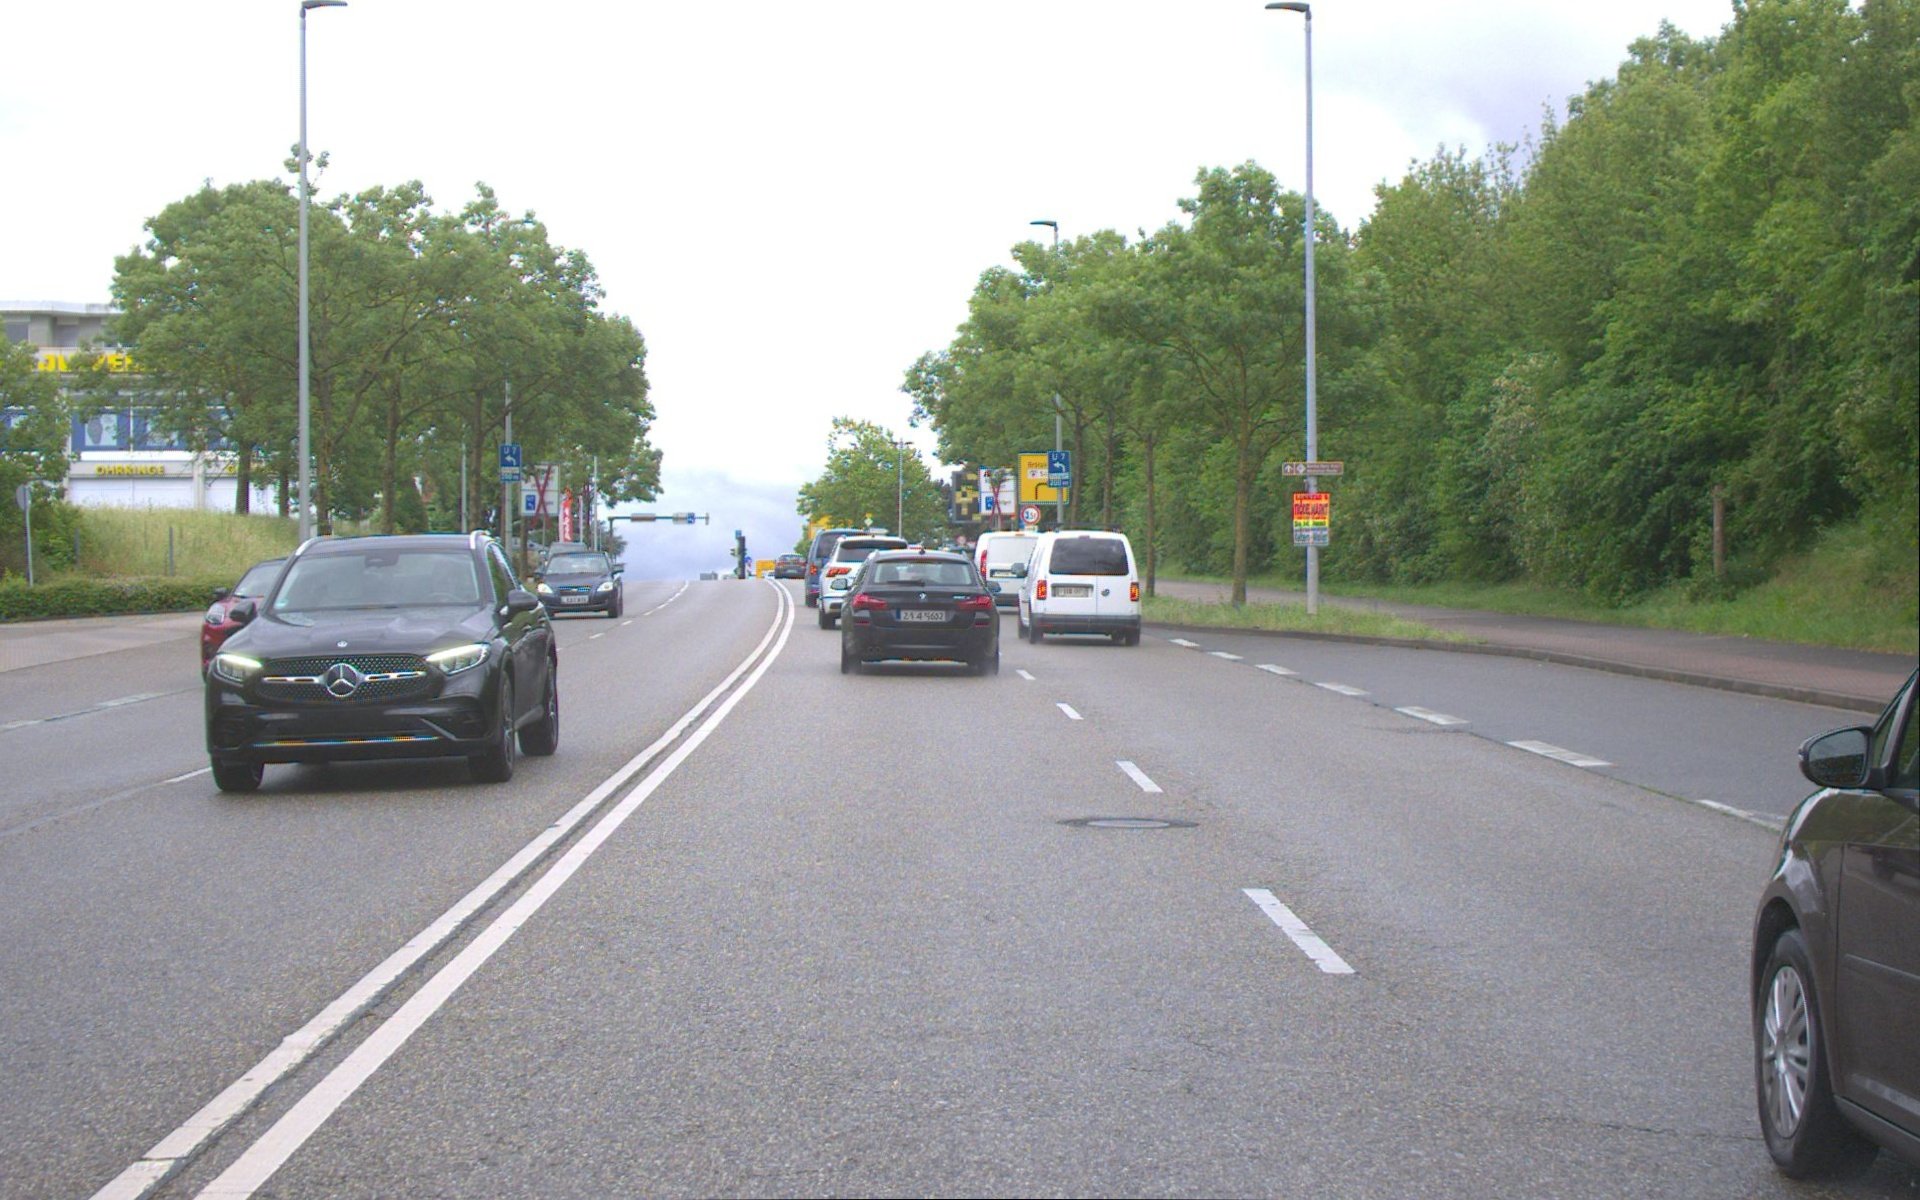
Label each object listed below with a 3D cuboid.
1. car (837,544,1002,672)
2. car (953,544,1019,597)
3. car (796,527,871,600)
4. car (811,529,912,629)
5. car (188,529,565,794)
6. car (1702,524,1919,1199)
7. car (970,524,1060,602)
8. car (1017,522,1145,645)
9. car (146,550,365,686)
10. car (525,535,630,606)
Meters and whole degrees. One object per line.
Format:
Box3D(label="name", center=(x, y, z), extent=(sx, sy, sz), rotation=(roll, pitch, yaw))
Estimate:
Box3D(label="car", center=(-0.510, 0.060, 41.233), extent=(1.855, 1.414, 3.957), rotation=(1, 1, -1))
Box3D(label="car", center=(0.684, -0.806, 92.540), extent=(1.600, 1.367, 3.680), rotation=(-1, 1, -2))
Box3D(label="car", center=(-3.030, -0.888, 82.470), extent=(1.758, 1.702, 3.946), rotation=(0, 1, -2))
Box3D(label="car", center=(-1.736, -0.398, 61.529), extent=(1.728, 1.705, 3.382), rotation=(1, 1, -1))
Box3D(label="car", center=(-3.844, 0.334, 23.350), extent=(1.858, 1.572, 4.321), rotation=(-2, 1, -1))
Box3D(label="car", center=(2.854, 0.651, 6.899), extent=(1.714, 1.591, 4.131), rotation=(1, 1, -2))
Box3D(label="car", center=(1.221, -0.847, 77.419), extent=(1.814, 1.702, 3.946), rotation=(0, 1, -2))
Box3D(label="car", center=(1.909, -0.288, 55.137), extent=(1.741, 1.863, 3.946), rotation=(1, 1, -2))
Box3D(label="car", center=(-8.469, 0.178, 41.656), extent=(1.676, 1.501, 4.216), rotation=(-1, 1, 1))
Box3D(label="car", center=(-8.480, -0.675, 76.437), extent=(1.737, 1.449, 4.000), rotation=(-2, 1, 2))
